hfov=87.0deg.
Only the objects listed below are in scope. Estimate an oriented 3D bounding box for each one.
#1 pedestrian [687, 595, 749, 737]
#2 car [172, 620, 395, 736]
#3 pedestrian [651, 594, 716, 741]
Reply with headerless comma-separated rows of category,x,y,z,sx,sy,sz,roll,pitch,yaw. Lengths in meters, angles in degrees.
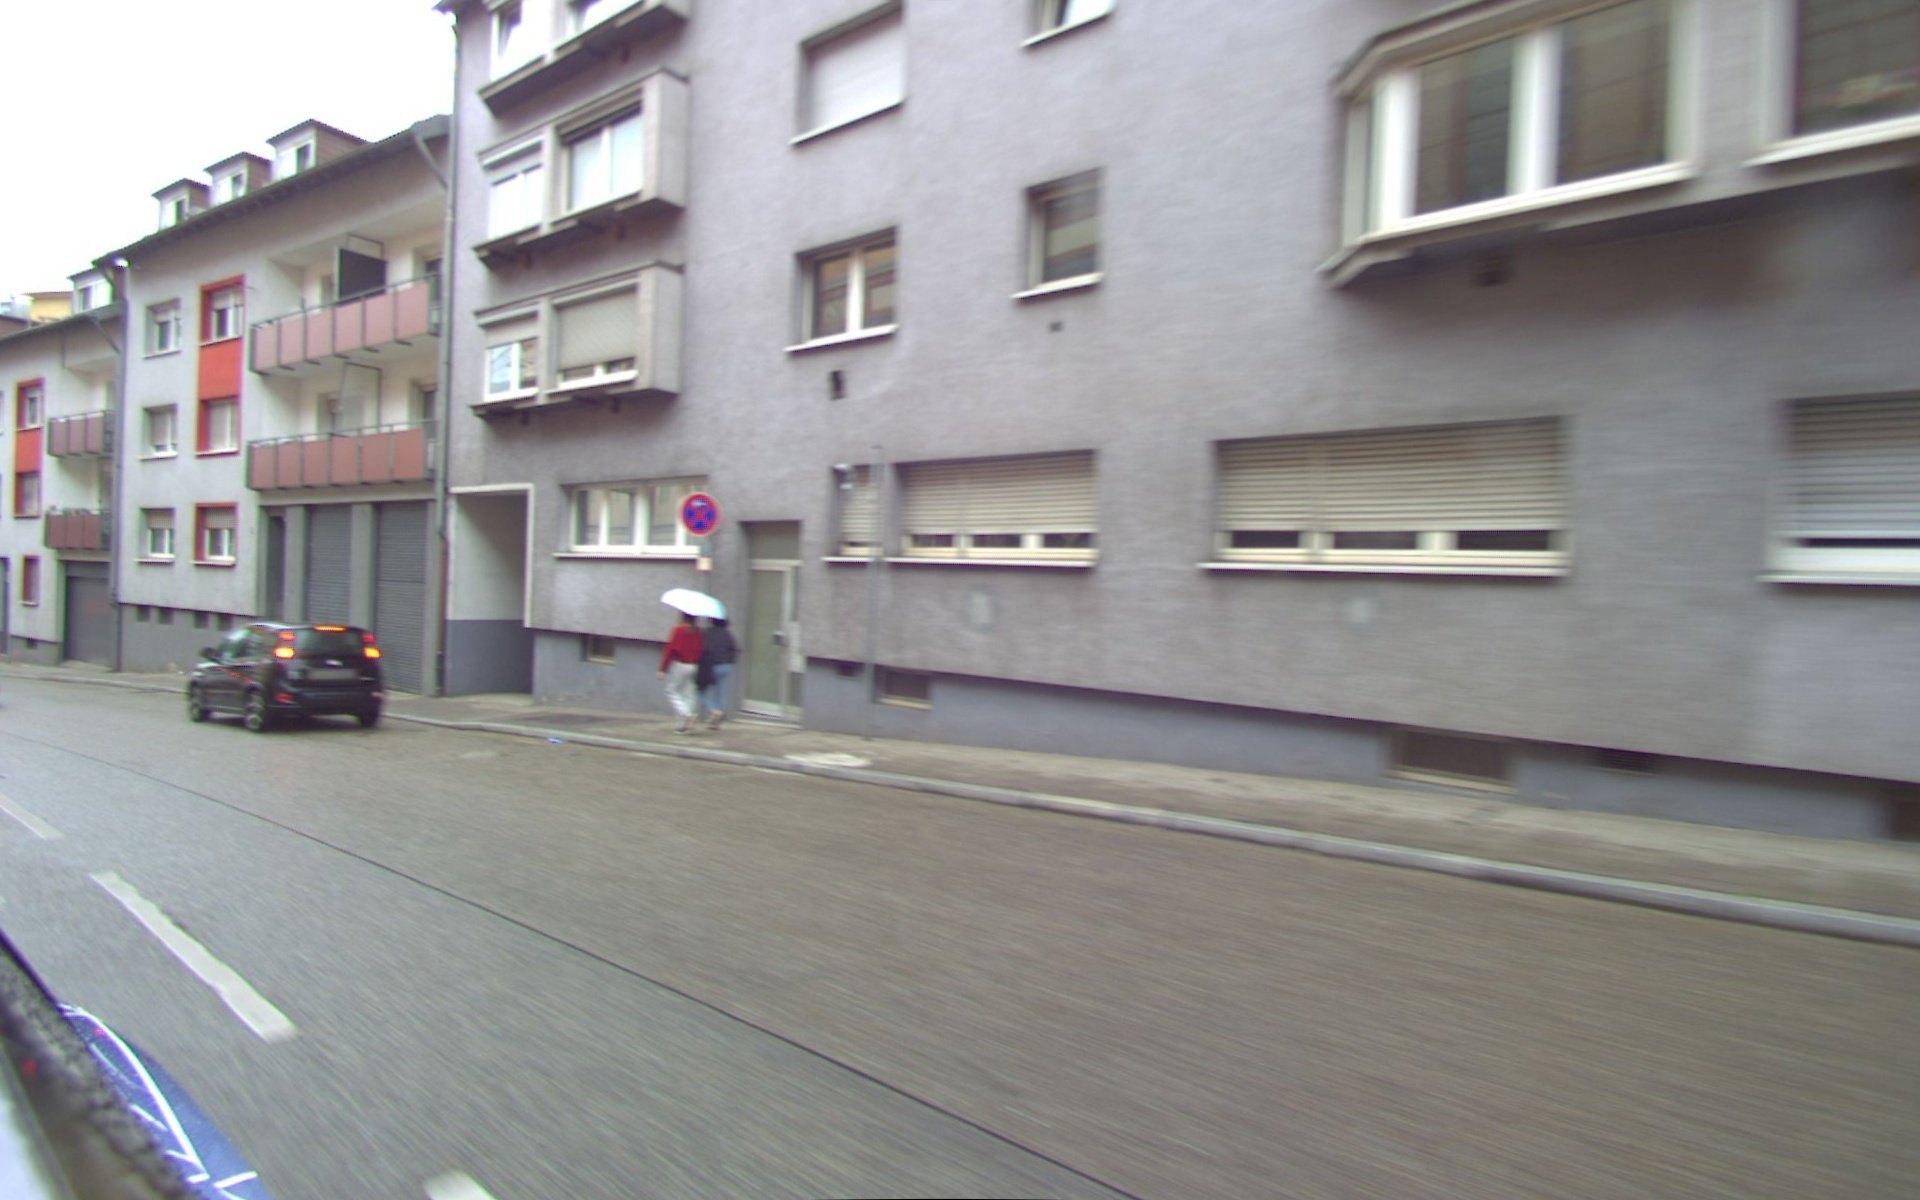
pedestrian,-3.155,0.853,13.195,0.621,1.789,0.518,-2,-3,38
car,-9.981,1.103,14.879,3.370,1.508,1.629,-2,-4,36
pedestrian,-3.489,0.842,12.777,0.621,1.789,0.518,-2,-3,38
